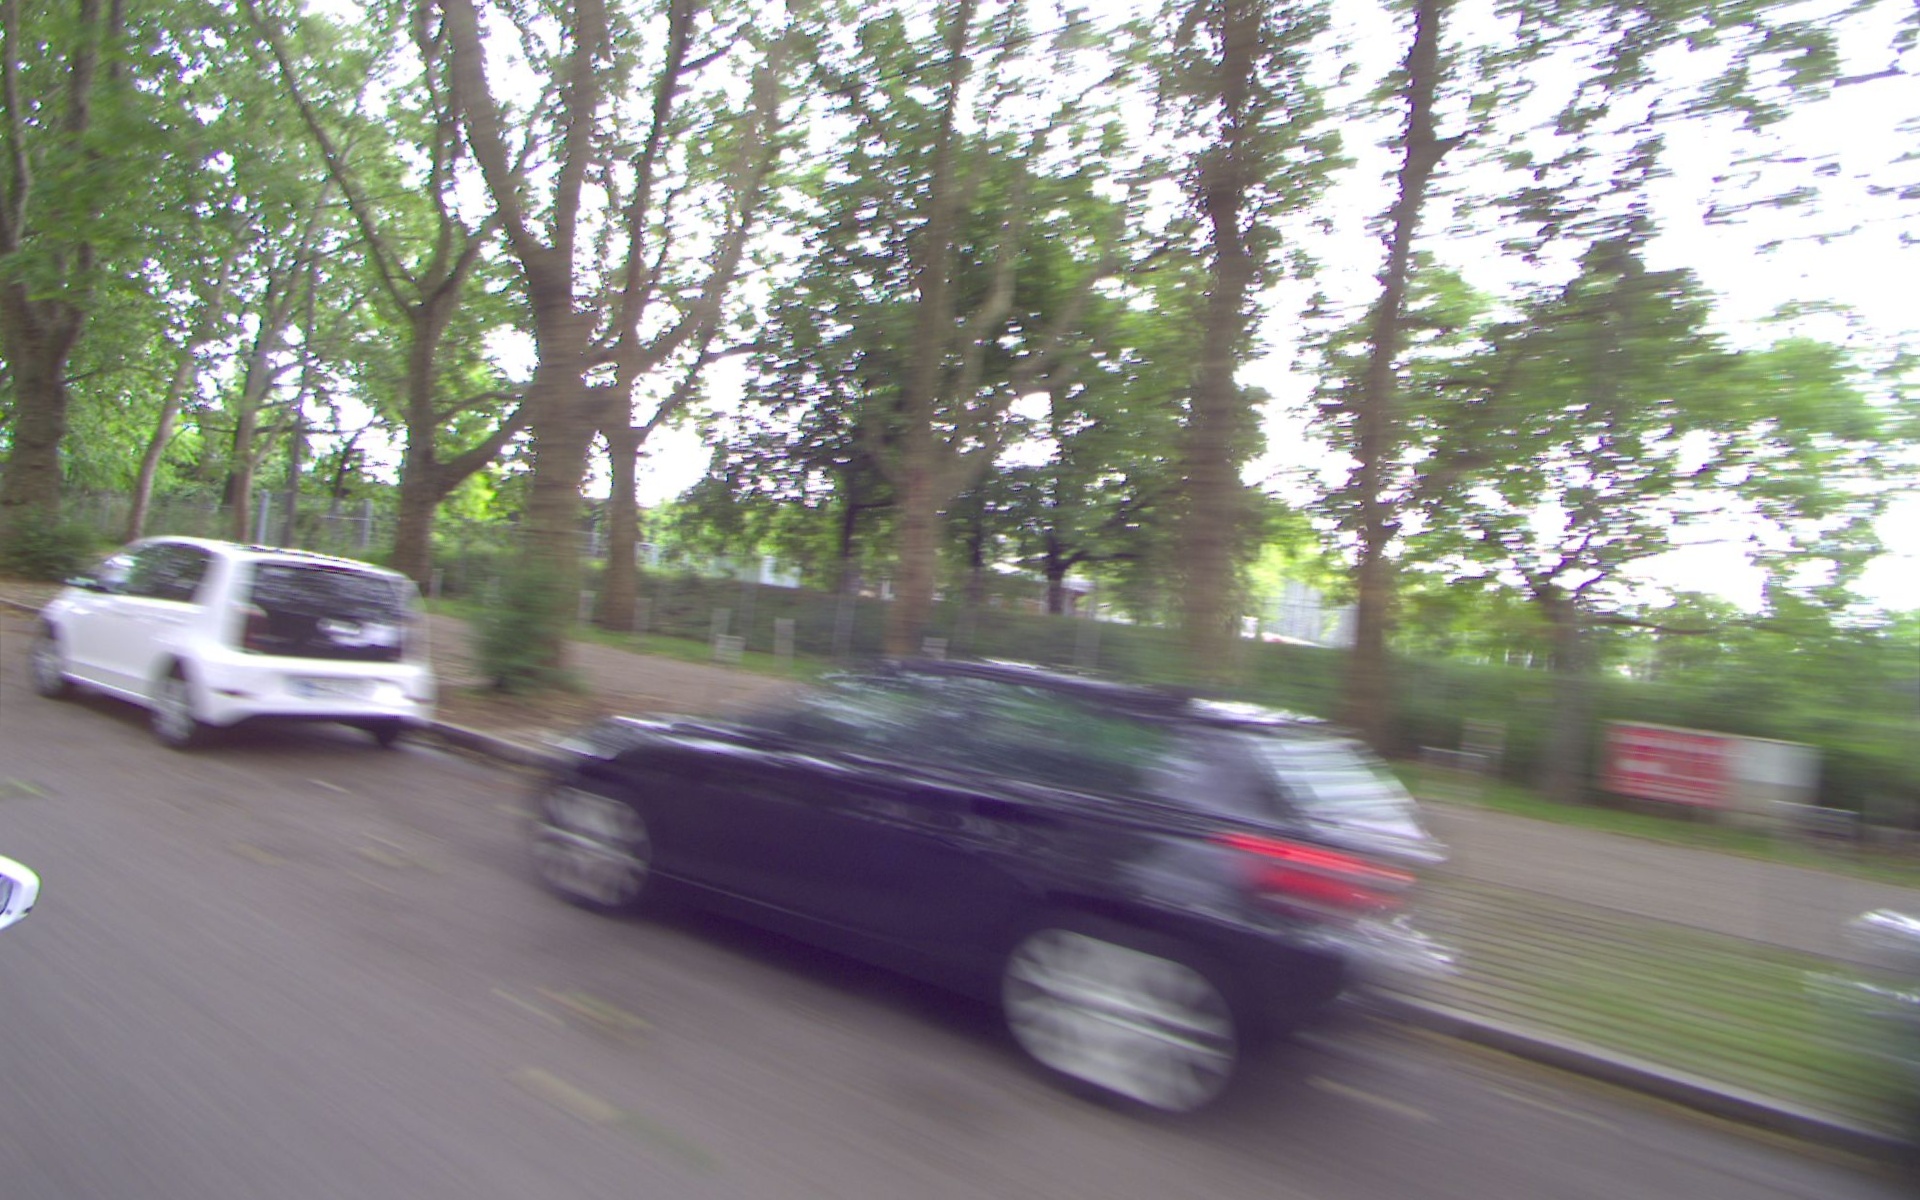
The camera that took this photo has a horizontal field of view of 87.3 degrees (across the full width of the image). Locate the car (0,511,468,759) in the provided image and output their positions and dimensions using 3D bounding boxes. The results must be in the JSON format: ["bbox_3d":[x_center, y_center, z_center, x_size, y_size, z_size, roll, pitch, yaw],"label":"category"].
[{"bbox_3d":[-6.085,0.233,8.332,3.825,1.443,1.711,7,-2,32],"label":"car"}]

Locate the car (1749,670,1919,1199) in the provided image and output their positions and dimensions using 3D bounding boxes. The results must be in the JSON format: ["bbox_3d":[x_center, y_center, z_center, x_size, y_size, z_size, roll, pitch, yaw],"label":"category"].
[{"bbox_3d":[4.496,1.301,1.749,4.552,1.717,1.712,7,-2,30],"label":"car"}]

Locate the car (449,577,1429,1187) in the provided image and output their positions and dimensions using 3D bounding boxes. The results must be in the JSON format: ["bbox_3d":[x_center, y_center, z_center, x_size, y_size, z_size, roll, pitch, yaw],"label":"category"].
[{"bbox_3d":[-0.248,0.896,4.808,4.286,1.432,1.711,7,-1,29],"label":"car"}]
